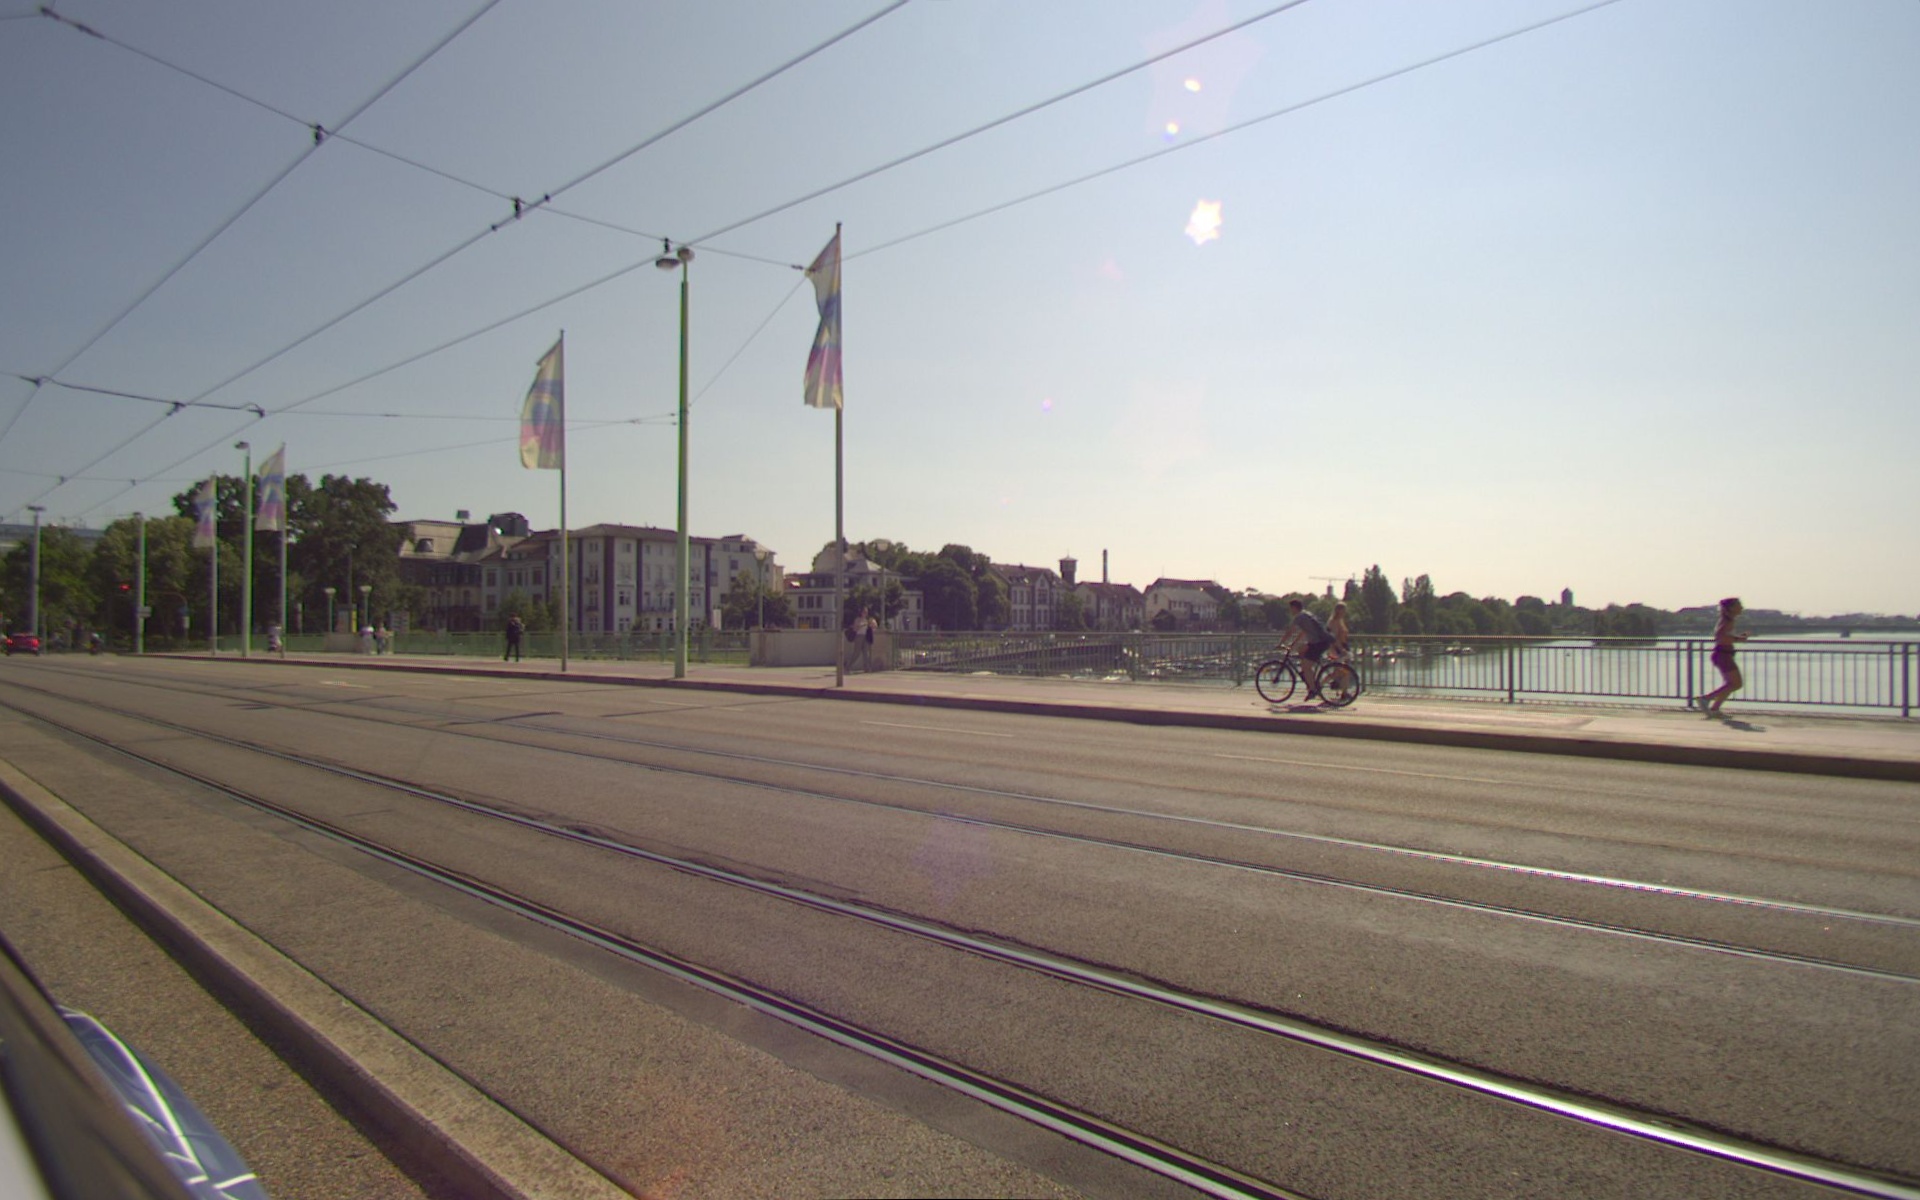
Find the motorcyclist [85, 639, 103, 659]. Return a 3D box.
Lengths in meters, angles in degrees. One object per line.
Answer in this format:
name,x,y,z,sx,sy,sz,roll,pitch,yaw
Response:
motorcyclist,-62.556,3.533,73.099,0.897,1.412,0.836,-2,-1,38

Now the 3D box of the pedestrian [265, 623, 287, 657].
pedestrian,-39.606,2.314,58.606,0.974,1.867,0.732,-2,1,38

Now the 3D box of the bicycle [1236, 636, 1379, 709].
bicycle,5.614,1.146,16.443,2.110,1.105,0.583,-1,-1,39

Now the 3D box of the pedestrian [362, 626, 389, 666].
pedestrian,-28.420,2.233,49.211,1.120,1.862,0.732,-2,1,38

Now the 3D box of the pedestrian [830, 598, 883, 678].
pedestrian,-2.698,0.977,26.347,1.040,2.029,0.890,-2,-2,38

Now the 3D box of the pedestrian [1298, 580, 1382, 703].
pedestrian,6.527,0.707,17.366,1.099,2.029,0.960,-2,-2,35

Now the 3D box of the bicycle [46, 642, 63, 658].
bicycle,-68.960,3.810,77.051,1.920,1.122,0.750,-4,-2,43

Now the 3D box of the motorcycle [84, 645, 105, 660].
motorcycle,-62.474,3.750,73.035,1.950,1.032,0.836,-2,-1,40

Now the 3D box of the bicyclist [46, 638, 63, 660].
bicyclist,-68.931,3.742,77.057,0.772,1.621,0.867,-4,-5,43

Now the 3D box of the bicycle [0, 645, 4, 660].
bicycle,-71.091,3.840,73.777,1.888,1.122,0.763,1,-2,-33

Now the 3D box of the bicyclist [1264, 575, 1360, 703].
bicyclist,5.697,0.622,16.375,1.128,1.976,1.087,-2,-2,38

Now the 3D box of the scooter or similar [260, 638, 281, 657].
scooter or similar,-40.306,2.753,59.173,0.831,1.037,0.732,-2,1,38

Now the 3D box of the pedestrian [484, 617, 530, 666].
pedestrian,-16.634,1.512,37.188,1.293,1.772,1.087,-2,-2,38

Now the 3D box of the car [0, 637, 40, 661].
car,-64.623,3.307,69.402,4.191,1.526,1.971,-2,-1,44

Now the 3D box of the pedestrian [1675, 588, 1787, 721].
pedestrian,10.551,0.724,13.874,1.174,1.735,0.747,-1,-1,38

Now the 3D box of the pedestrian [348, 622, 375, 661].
pedestrian,-28.795,2.000,48.692,0.956,1.797,0.732,-2,1,38
